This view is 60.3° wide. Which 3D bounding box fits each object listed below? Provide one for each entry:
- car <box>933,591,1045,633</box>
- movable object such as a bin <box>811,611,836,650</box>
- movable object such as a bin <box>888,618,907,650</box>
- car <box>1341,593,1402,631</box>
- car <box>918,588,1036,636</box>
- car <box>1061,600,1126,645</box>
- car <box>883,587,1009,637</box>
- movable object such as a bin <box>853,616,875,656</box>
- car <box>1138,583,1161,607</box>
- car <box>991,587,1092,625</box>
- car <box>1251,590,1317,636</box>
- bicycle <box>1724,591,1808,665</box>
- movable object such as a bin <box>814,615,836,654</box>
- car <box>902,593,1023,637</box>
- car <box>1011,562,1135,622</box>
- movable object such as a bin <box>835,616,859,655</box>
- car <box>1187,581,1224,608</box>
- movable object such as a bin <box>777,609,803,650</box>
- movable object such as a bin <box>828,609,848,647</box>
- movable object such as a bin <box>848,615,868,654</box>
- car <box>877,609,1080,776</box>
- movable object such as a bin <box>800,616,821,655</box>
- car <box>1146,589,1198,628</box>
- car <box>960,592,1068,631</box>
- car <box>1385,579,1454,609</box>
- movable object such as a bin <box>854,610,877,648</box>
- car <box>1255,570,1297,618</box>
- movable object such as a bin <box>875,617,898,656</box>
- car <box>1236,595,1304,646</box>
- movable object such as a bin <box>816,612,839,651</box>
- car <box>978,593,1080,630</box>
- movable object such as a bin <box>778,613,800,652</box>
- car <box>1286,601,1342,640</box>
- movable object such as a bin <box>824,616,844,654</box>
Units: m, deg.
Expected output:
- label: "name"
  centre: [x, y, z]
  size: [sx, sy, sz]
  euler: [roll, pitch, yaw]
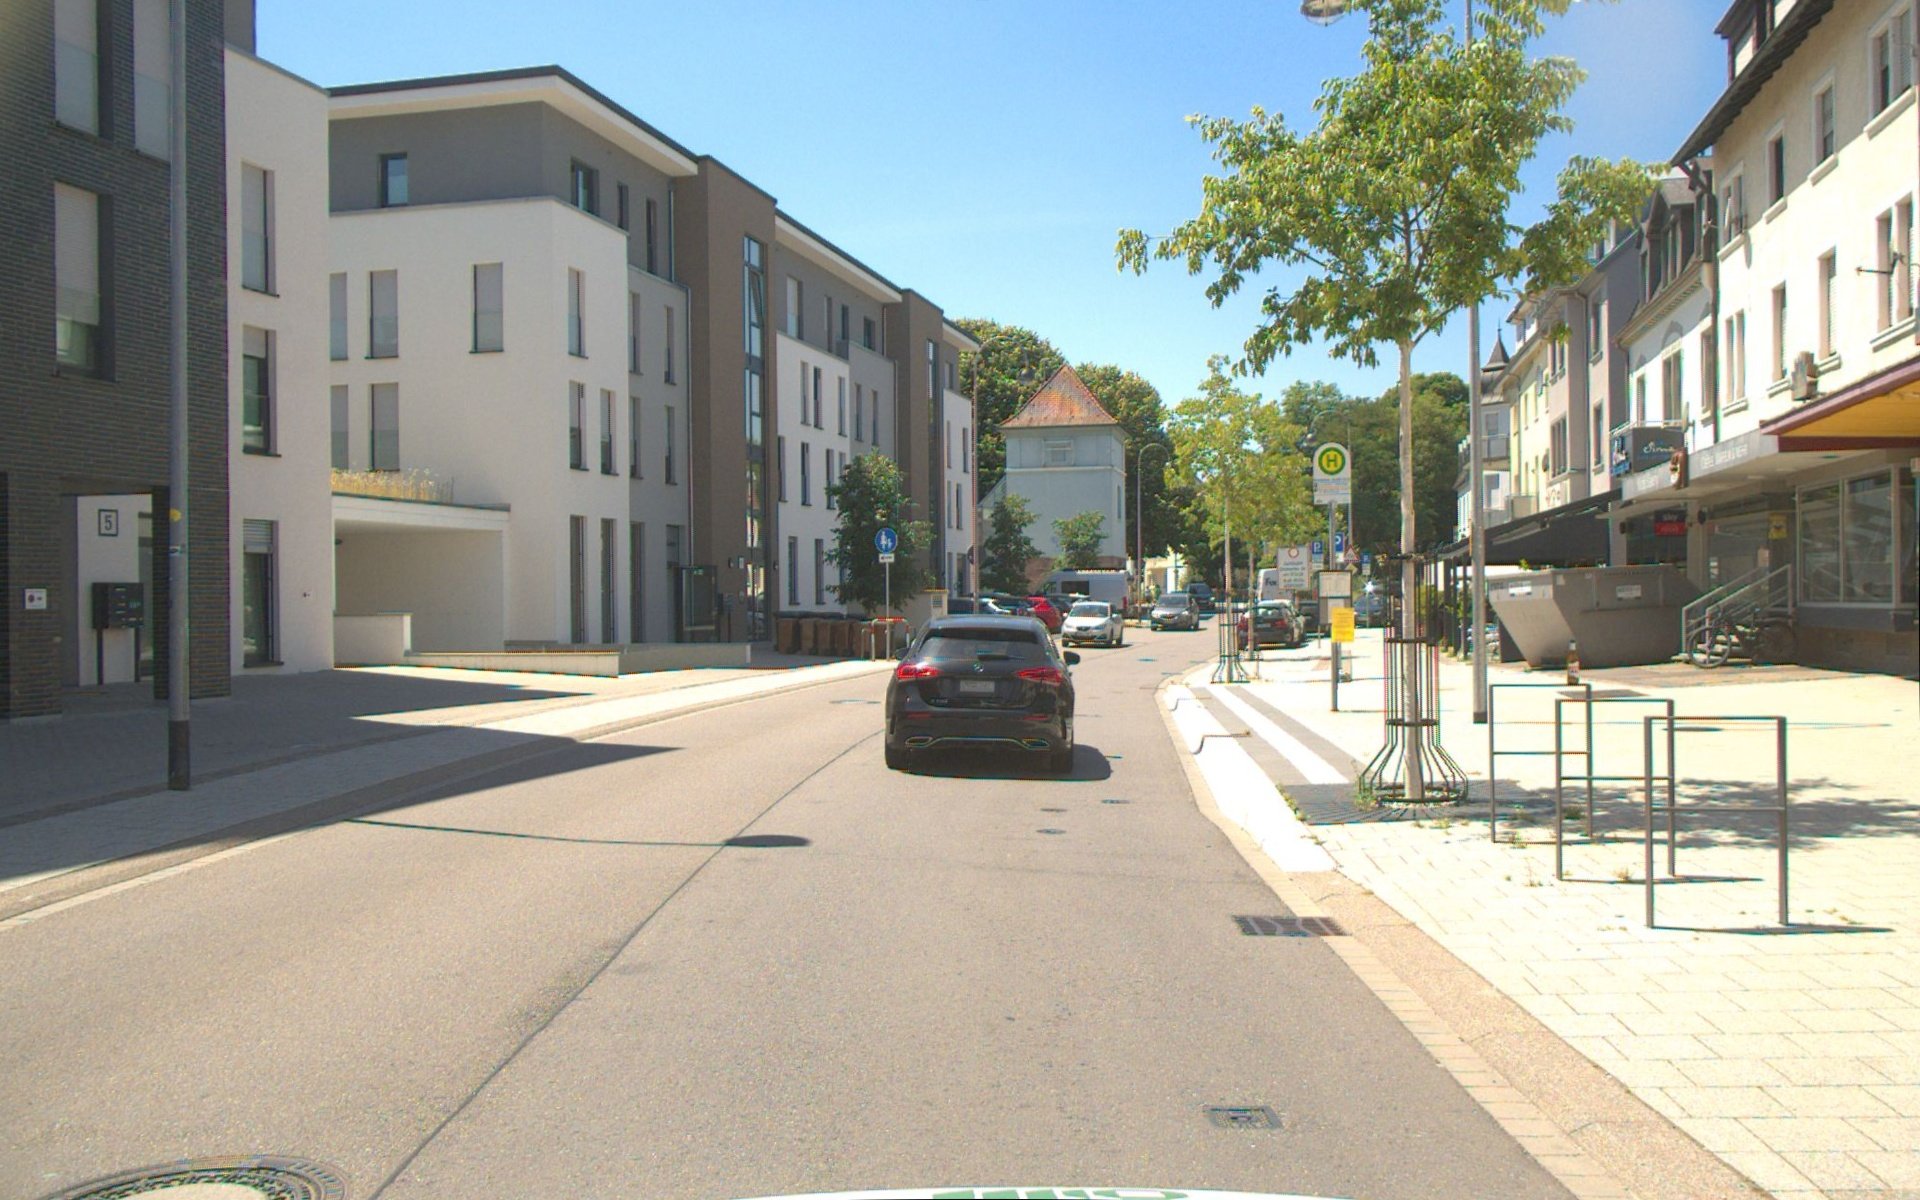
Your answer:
- label: "car"
  centre: [1.129, 0.453, 63.969]
  size: [3.947, 1.523, 2.001]
  euler: [1, 0, 16]
- label: "movable object such as a bin"
  centre: [-3.839, 0.854, 46.482]
  size: [0.662, 1.057, 0.604]
  euler: [0, 0, -3]
- label: "movable object such as a bin"
  centre: [-1.785, 0.974, 47.455]
  size: [0.543, 0.883, 0.481]
  euler: [0, 0, -3]
- label: "car"
  centre: [18.890, 0.533, 75.772]
  size: [1.836, 1.517, 3.857]
  euler: [-2, 1, 27]
- label: "car"
  centre: [0.649, 0.413, 61.188]
  size: [3.947, 1.680, 2.001]
  euler: [1, 0, 16]
- label: "car"
  centre: [4.457, 0.728, 54.921]
  size: [1.631, 1.420, 3.851]
  euler: [0, 0, 13]
- label: "car"
  centre: [-0.461, 0.404, 56.497]
  size: [3.902, 1.541, 2.002]
  euler: [1, 2, 14]
- label: "movable object such as a bin"
  centre: [-2.508, 0.933, 43.250]
  size: [0.472, 1.015, 0.588]
  euler: [0, 0, 7]
- label: "car"
  centre: [17.133, -0.454, 149.764]
  size: [1.951, 2.049, 4.002]
  euler: [1, 0, 6]
- label: "car"
  centre: [3.762, 0.255, 76.134]
  size: [4.359, 1.619, 2.002]
  euler: [1, 0, 14]
- label: "car"
  centre: [11.695, 0.448, 59.497]
  size: [1.701, 1.512, 4.055]
  euler: [-3, -1, 19]
- label: "bicycle"
  centre: [13.700, 0.469, 28.129]
  size: [1.244, 1.204, 0.415]
  euler: [1, -1, 22]
- label: "movable object such as a bin"
  centre: [-3.552, 0.912, 43.515]
  size: [0.415, 1.015, 0.524]
  euler: [0, 0, 14]
- label: "car"
  centre: [0.099, 0.503, 58.723]
  size: [3.902, 1.446, 1.911]
  euler: [1, 0, 15]
- label: "car"
  centre: [5.522, -0.417, 80.500]
  size: [5.645, 2.780, 2.293]
  euler: [1, 0, 15]
- label: "movable object such as a bin"
  centre: [-2.982, 0.922, 43.541]
  size: [0.472, 1.015, 0.588]
  euler: [0, 0, 13]
- label: "car"
  centre: [15.788, -0.355, 106.285]
  size: [1.772, 1.731, 4.078]
  euler: [0, 0, 17]
- label: "movable object such as a bin"
  centre: [-4.702, 0.823, 45.701]
  size: [0.678, 1.115, 0.647]
  euler: [0, 0, -3]
- label: "movable object such as a bin"
  centre: [-3.469, 0.797, 47.151]
  size: [0.564, 1.057, 0.550]
  euler: [0, 0, -3]
- label: "movable object such as a bin"
  centre: [-2.705, 0.917, 43.867]
  size: [0.394, 1.015, 0.556]
  euler: [0, 0, 13]
- label: "car"
  centre: [0.203, 0.823, 16.590]
  size: [1.790, 1.467, 4.000]
  euler: [0, 0, 1]
- label: "movable object such as a bin"
  centre: [-3.963, 0.950, 43.961]
  size: [0.394, 1.015, 0.556]
  euler: [0, 0, 13]
- label: "car"
  centre: [9.657, 0.379, 75.090]
  size: [1.901, 1.687, 4.239]
  euler: [1, 0, 13]
- label: "car"
  centre: [2.176, 0.440, 66.433]
  size: [3.947, 1.455, 2.001]
  euler: [1, 0, 16]
- label: "car"
  centre: [28.416, -0.379, 102.451]
  size: [3.988, 1.746, 1.858]
  euler: [1, 0, 12]
- label: "movable object such as a bin"
  centre: [-2.650, 0.808, 46.339]
  size: [0.542, 1.038, 0.561]
  euler: [0, 0, 9]
- label: "car"
  centre: [18.236, -0.365, 95.391]
  size: [2.082, 2.675, 5.282]
  euler: [-1, 0, 14]
- label: "movable object such as a bin"
  centre: [-1.958, 0.956, 43.920]
  size: [0.472, 1.015, 0.588]
  euler: [0, 0, 13]
- label: "car"
  centre: [10.043, 0.652, 53.368]
  size: [1.794, 1.508, 4.098]
  euler: [-3, -1, 15]
- label: "movable object such as a bin"
  centre: [-3.675, 0.872, 45.789]
  size: [0.607, 1.057, 0.582]
  euler: [0, 0, -3]
- label: "car"
  centre: [2.958, 0.482, 70.569]
  size: [4.110, 1.463, 1.887]
  euler: [1, 0, 10]
- label: "movable object such as a bin"
  centre: [-4.563, 0.872, 44.172]
  size: [0.472, 1.015, 0.588]
  euler: [0, 0, 7]
- label: "car"
  centre: [14.041, 0.775, 65.531]
  size: [1.688, 1.430, 4.611]
  euler: [-2, 0, 18]
- label: "movable object such as a bin"
  centre: [-3.350, 0.926, 44.055]
  size: [0.394, 1.015, 0.556]
  euler: [0, 0, 13]
